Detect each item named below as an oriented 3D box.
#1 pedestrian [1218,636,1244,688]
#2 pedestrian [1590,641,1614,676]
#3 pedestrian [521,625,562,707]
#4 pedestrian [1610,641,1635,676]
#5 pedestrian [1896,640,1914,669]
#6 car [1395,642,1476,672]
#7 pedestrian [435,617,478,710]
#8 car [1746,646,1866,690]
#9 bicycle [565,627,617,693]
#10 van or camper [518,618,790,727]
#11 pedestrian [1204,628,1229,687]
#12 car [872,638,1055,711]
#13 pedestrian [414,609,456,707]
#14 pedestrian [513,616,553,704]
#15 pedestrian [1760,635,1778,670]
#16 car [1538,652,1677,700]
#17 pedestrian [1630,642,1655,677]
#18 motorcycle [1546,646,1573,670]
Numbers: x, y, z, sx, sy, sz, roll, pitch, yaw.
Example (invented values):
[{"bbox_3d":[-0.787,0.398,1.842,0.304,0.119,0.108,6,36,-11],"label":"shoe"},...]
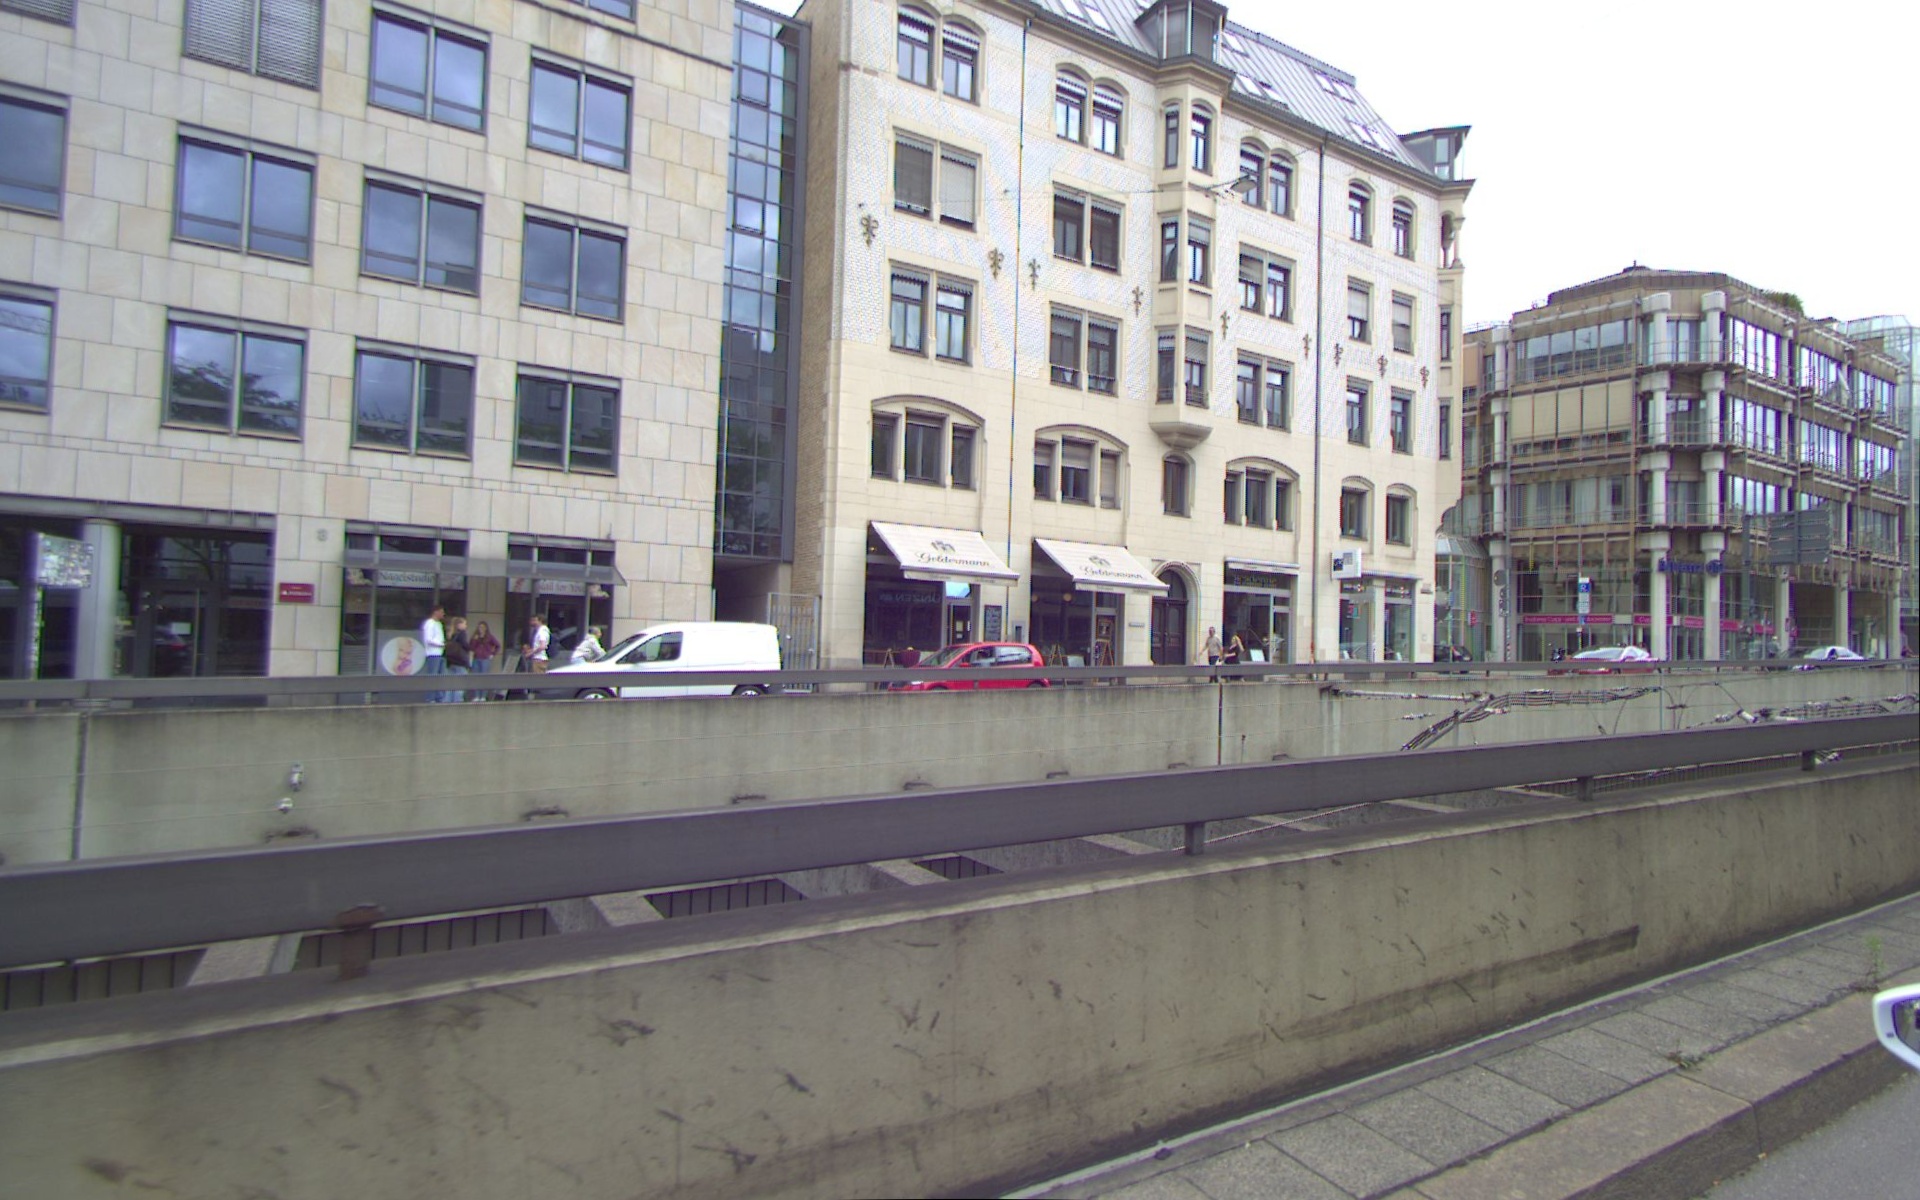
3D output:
[{"bbox_3d":[8.192,1.864,30.325,0.576,1.558,0.477,1,-2,-30],"label":"pedestrian"},{"bbox_3d":[29.672,2.704,46.417,0.839,1.564,0.695,2,-2,-38],"label":"pedestrian"},{"bbox_3d":[-8.381,1.315,20.114,0.672,1.597,0.549,1,-1,-31],"label":"pedestrian"},{"bbox_3d":[30.206,2.678,45.801,0.839,1.564,0.695,2,-2,-38],"label":"pedestrian"},{"bbox_3d":[61.815,3.557,65.722,0.707,1.848,0.767,2,-2,-39],"label":"pedestrian"},{"bbox_3d":[24.070,2.875,50.963,1.631,1.455,3.429,1,-2,-30],"label":"car"},{"bbox_3d":[-9.684,1.210,19.311,0.672,1.740,0.552,1,-1,-30],"label":"pedestrian"},{"bbox_3d":[33.245,2.628,39.461,4.826,1.606,1.986,1,-2,-28],"label":"car"},{"bbox_3d":[-7.272,1.167,19.786,0.836,1.277,0.628,2,-2,-34],"label":"bicycle"},{"bbox_3d":[-5.550,1.257,18.369,4.436,1.774,1.858,2,-2,-32],"label":"van or camper"},{"bbox_3d":[7.872,1.766,30.812,0.576,1.780,0.477,1,-2,-29],"label":"pedestrian"},{"bbox_3d":[0.098,1.543,21.569,3.543,1.424,1.778,2,-2,-32],"label":"car"},{"bbox_3d":[-10.367,1.133,19.830,0.672,1.899,0.613,1,-1,-31],"label":"pedestrian"},{"bbox_3d":[-8.847,1.237,20.818,0.672,1.776,0.549,1,-1,-31],"label":"pedestrian"},{"bbox_3d":[41.967,2.728,52.094,0.686,1.817,0.530,1,-1,-29],"label":"pedestrian"},{"bbox_3d":[21.958,2.527,34.007,4.828,1.484,1.984,2,-2,-30],"label":"car"},{"bbox_3d":[30.664,2.655,45.131,0.839,1.564,0.695,2,-2,-38],"label":"pedestrian"},{"bbox_3d":[33.505,3.231,56.102,1.925,1.273,0.784,2,-2,-43],"label":"motorcycle"}]
